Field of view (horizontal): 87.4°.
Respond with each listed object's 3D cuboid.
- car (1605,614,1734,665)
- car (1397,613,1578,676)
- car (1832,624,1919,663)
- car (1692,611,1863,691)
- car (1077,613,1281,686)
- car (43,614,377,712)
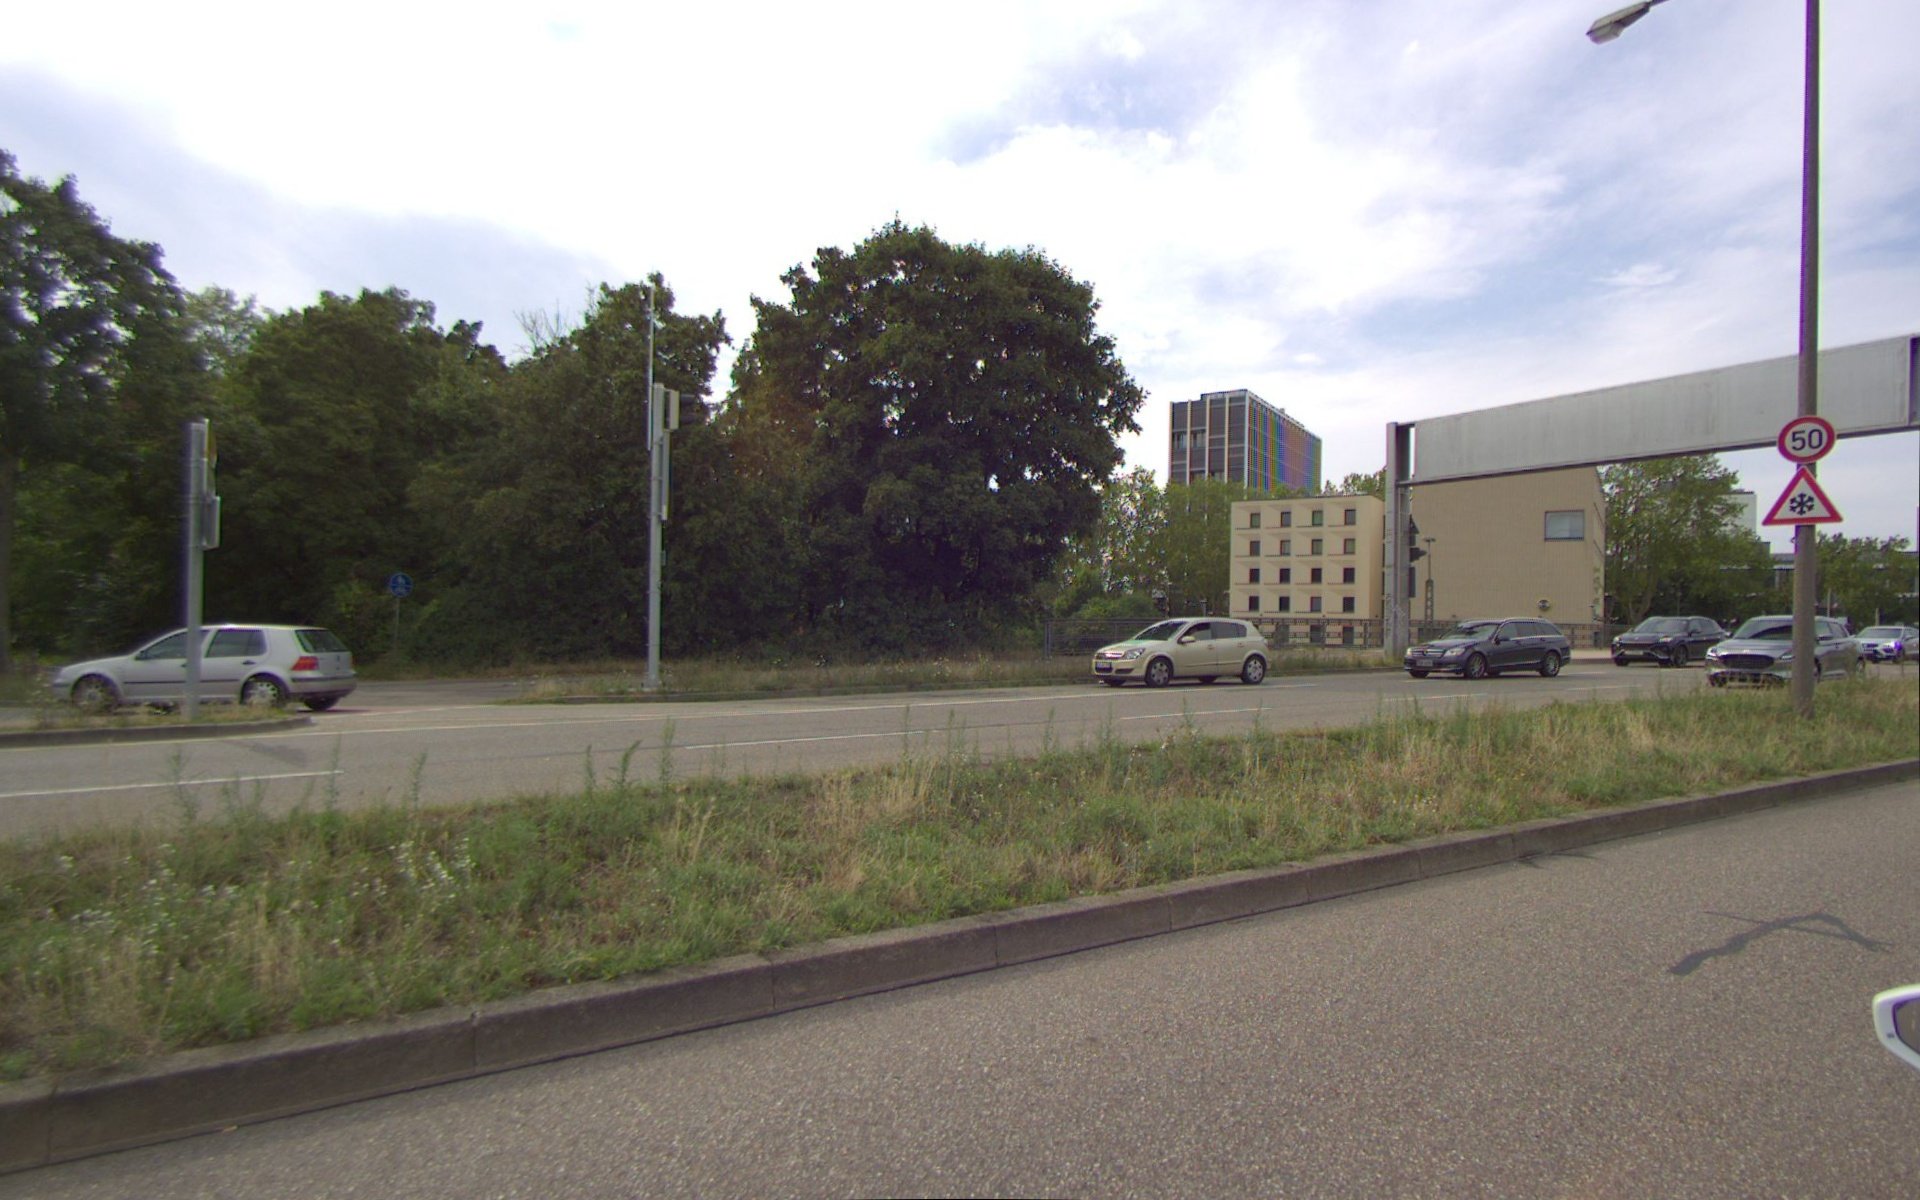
[{"bbox_3d":[23.018,1.288,32.543,4.543,1.545,1.783,2,-2,-32],"label":"car"},{"bbox_3d":[13.004,1.108,24.730,4.459,1.444,1.660,2,-2,-26],"label":"car"},{"bbox_3d":[38.354,1.831,41.964,4.142,1.545,1.783,2,-2,-32],"label":"car"},{"bbox_3d":[17.036,1.016,20.900,3.819,1.506,1.684,1,0,-33],"label":"car"},{"bbox_3d":[4.748,1.064,21.636,4.260,1.437,1.659,2,-3,-28],"label":"car"},{"bbox_3d":[-12.028,0.997,16.357,4.017,1.438,1.669,1,0,-8],"label":"car"}]
